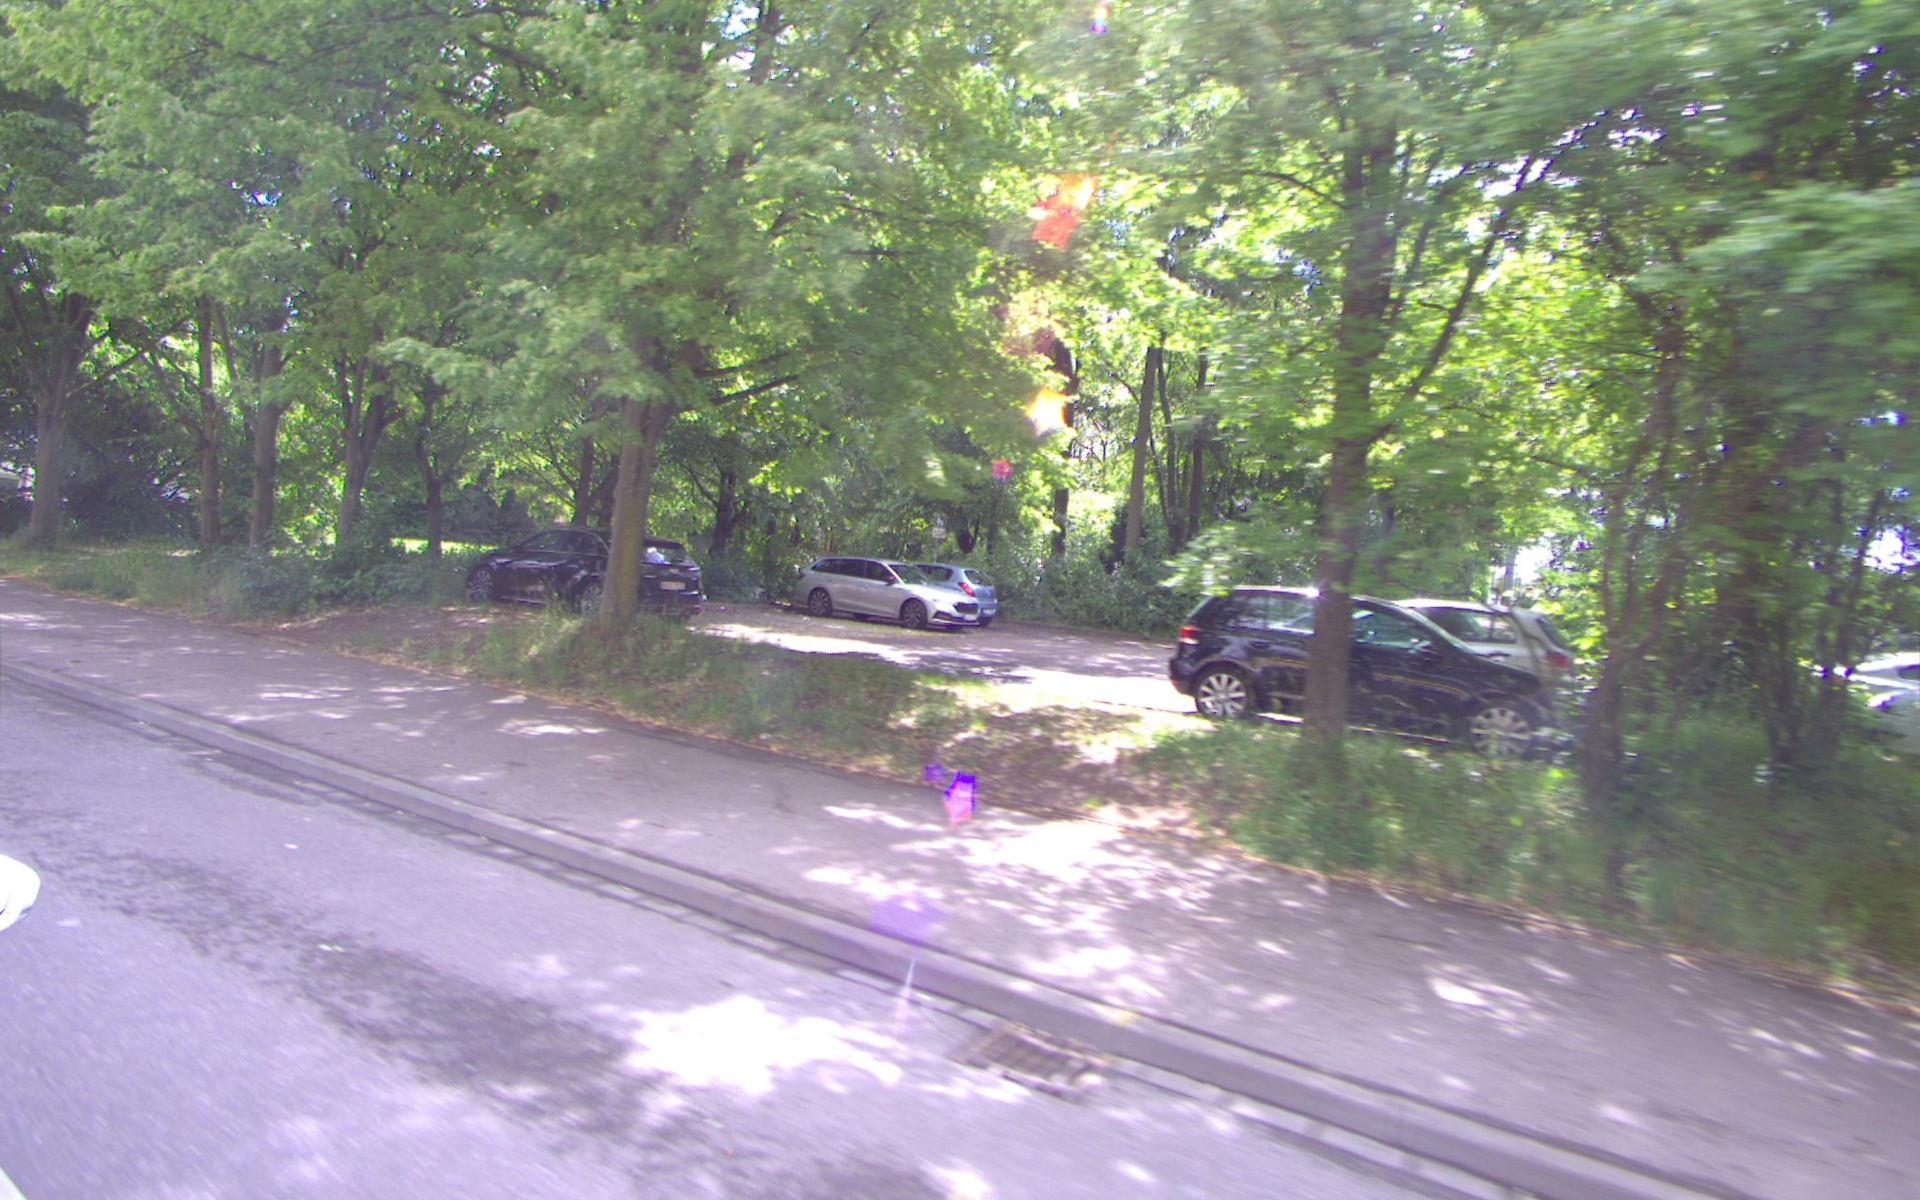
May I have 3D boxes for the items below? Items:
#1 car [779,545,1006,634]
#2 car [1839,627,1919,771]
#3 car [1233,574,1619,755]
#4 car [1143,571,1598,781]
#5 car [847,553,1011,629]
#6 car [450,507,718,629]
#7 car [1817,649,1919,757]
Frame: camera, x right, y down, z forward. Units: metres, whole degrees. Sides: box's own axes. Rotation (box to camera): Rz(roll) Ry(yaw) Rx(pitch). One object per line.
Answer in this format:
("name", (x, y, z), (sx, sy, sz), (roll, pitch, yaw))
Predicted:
("car", (-1.589, -0.259, 22.867), (4.799, 1.528, 1.994), (7, 2, 32))
("car", (12.855, 1.338, 11.676), (3.560, 1.636, 1.693), (7, 3, 30))
("car", (5.588, 0.698, 12.362), (3.920, 1.587, 1.636), (7, 1, 28))
("car", (4.136, 0.671, 10.429), (3.920, 1.483, 1.799), (7, 1, 28))
("car", (-0.818, -0.232, 25.656), (3.831, 1.528, 1.650), (7, 2, 32))
("car", (-6.039, -0.525, 16.035), (4.089, 1.528, 1.716), (7, 2, 30))
("car", (14.282, 1.573, 13.711), (3.560, 1.335, 1.787), (7, 3, 30))
